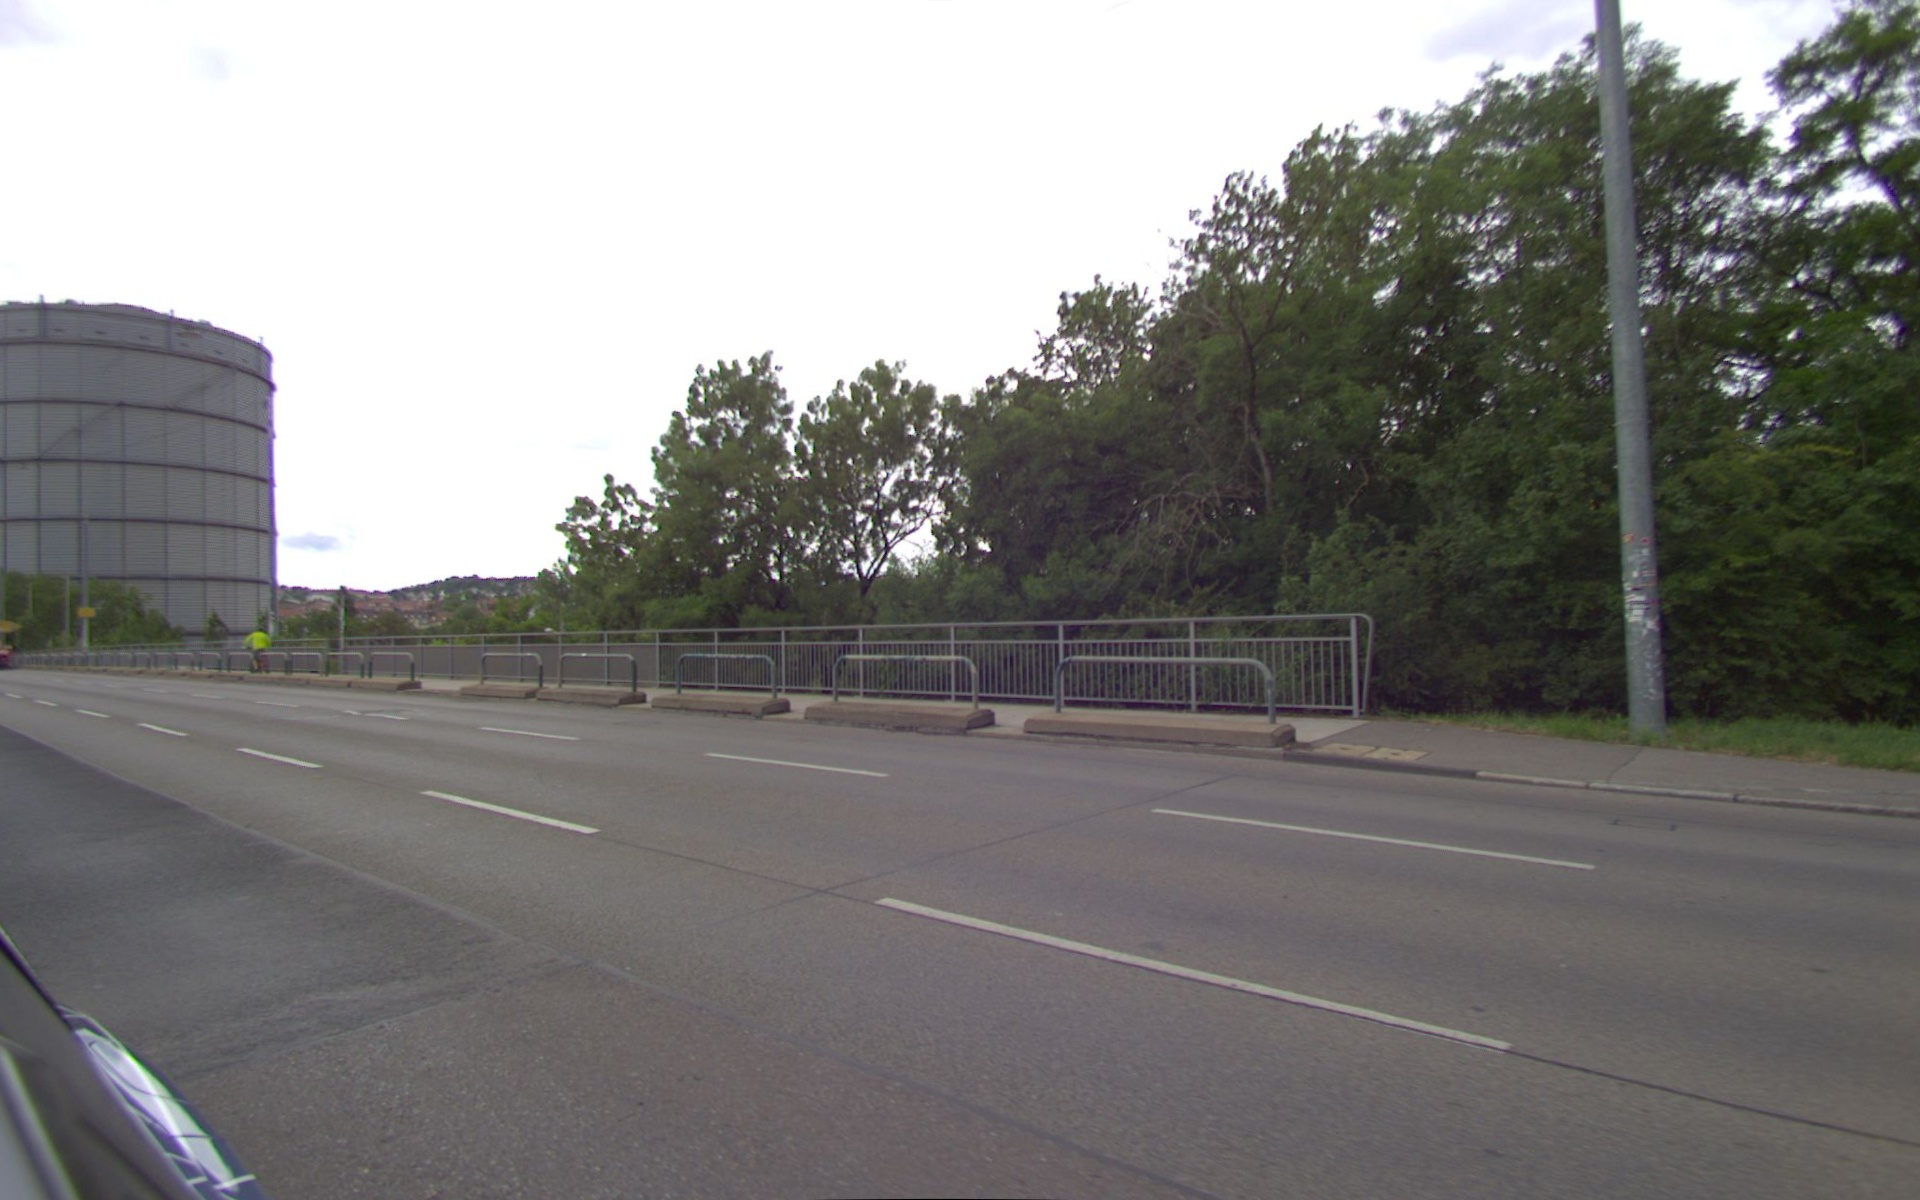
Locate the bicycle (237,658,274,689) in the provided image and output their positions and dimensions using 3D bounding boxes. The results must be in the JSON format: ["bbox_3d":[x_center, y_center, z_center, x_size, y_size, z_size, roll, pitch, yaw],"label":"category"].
[{"bbox_3d":[-26.812,2.787,38.507,1.982,1.071,0.628,-3,6,44],"label":"bicycle"}]

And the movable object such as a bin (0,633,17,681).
[{"bbox_3d":[-71.139,4.095,73.131,9.354,3.348,3.419,-2,-3,41],"label":"movable object such as a bin"}]

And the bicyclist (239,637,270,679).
[{"bbox_3d":[-26.845,2.204,38.509,0.670,1.486,0.620,-3,6,43],"label":"bicyclist"}]
